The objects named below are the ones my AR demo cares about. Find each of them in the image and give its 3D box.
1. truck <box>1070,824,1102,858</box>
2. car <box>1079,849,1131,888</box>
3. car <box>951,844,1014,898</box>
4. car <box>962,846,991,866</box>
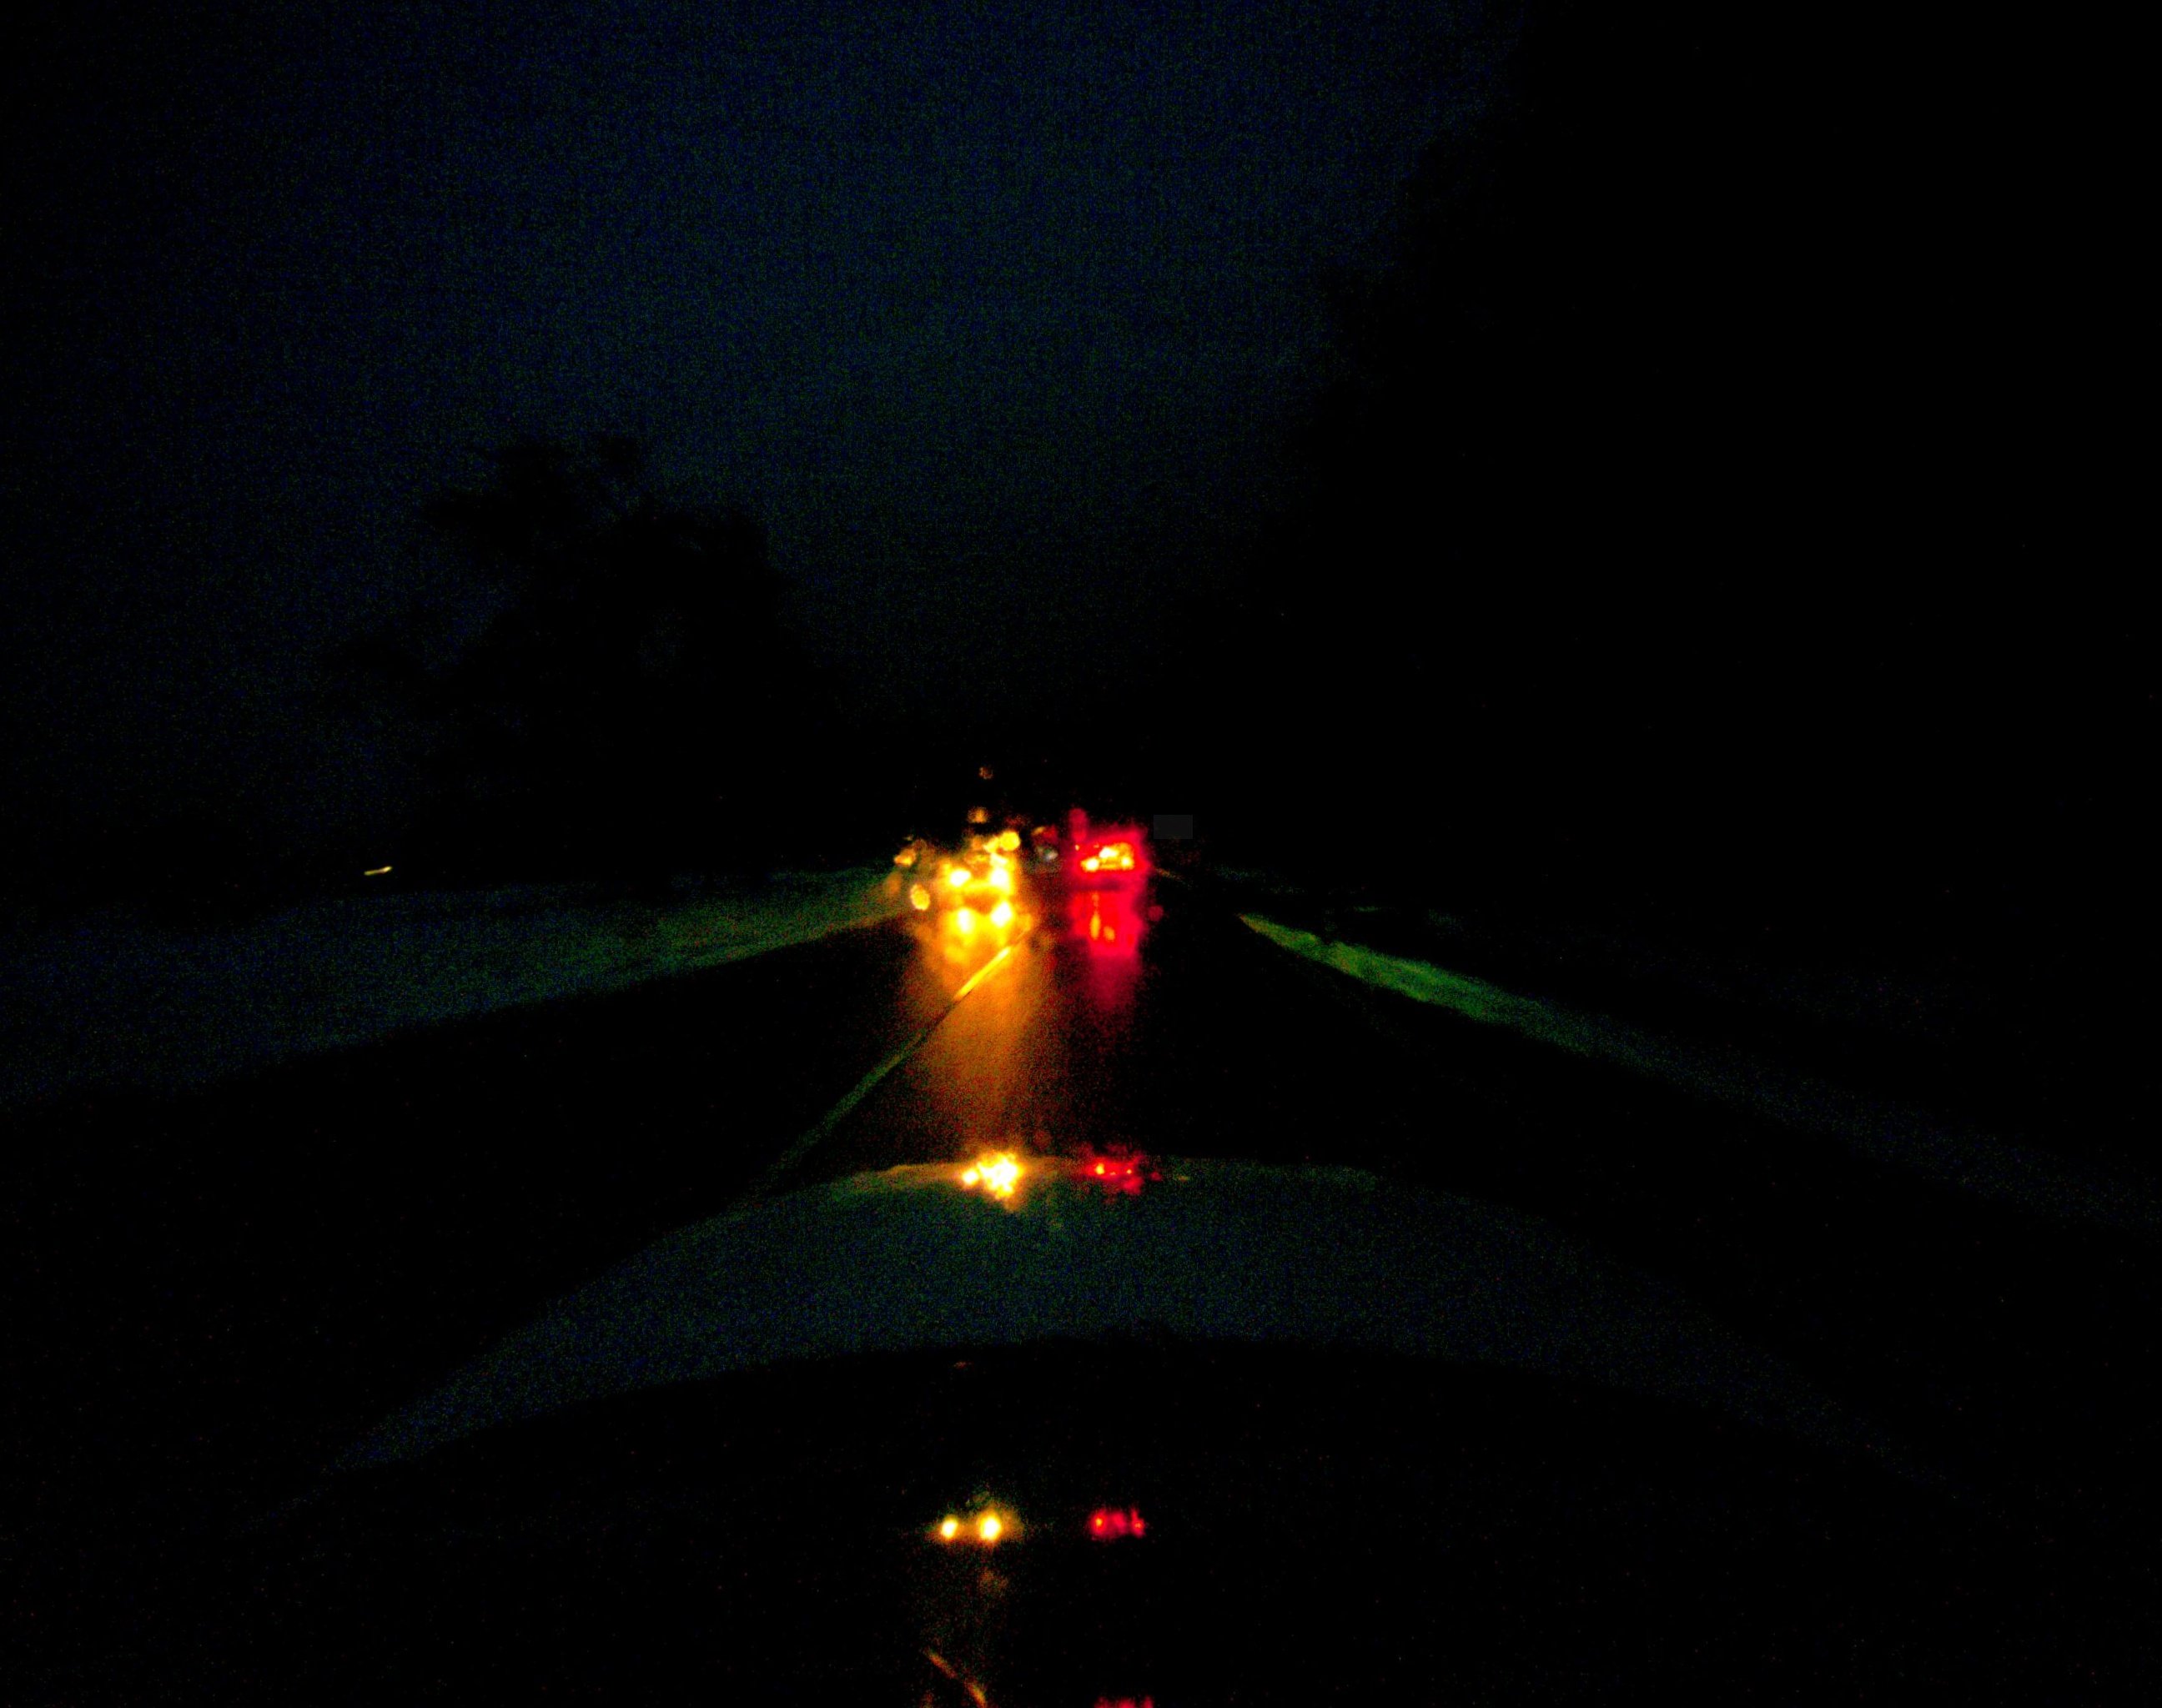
[{"bbox_3d":[0.380,-1.111,70.813,2.073,2.745,5.308,-2,1,-6],"label":"truck"},{"bbox_3d":[0.920,0.543,33.132,1.916,1.276,3.999,-2,2,-1],"label":"car"},{"bbox_3d":[-3.432,0.532,29.077,1.747,1.693,4.424,-3,1,-1],"label":"car"},{"bbox_3d":[-8.988,0.176,70.249,1.735,1.486,4.007,-4,2,2],"label":"car"}]
